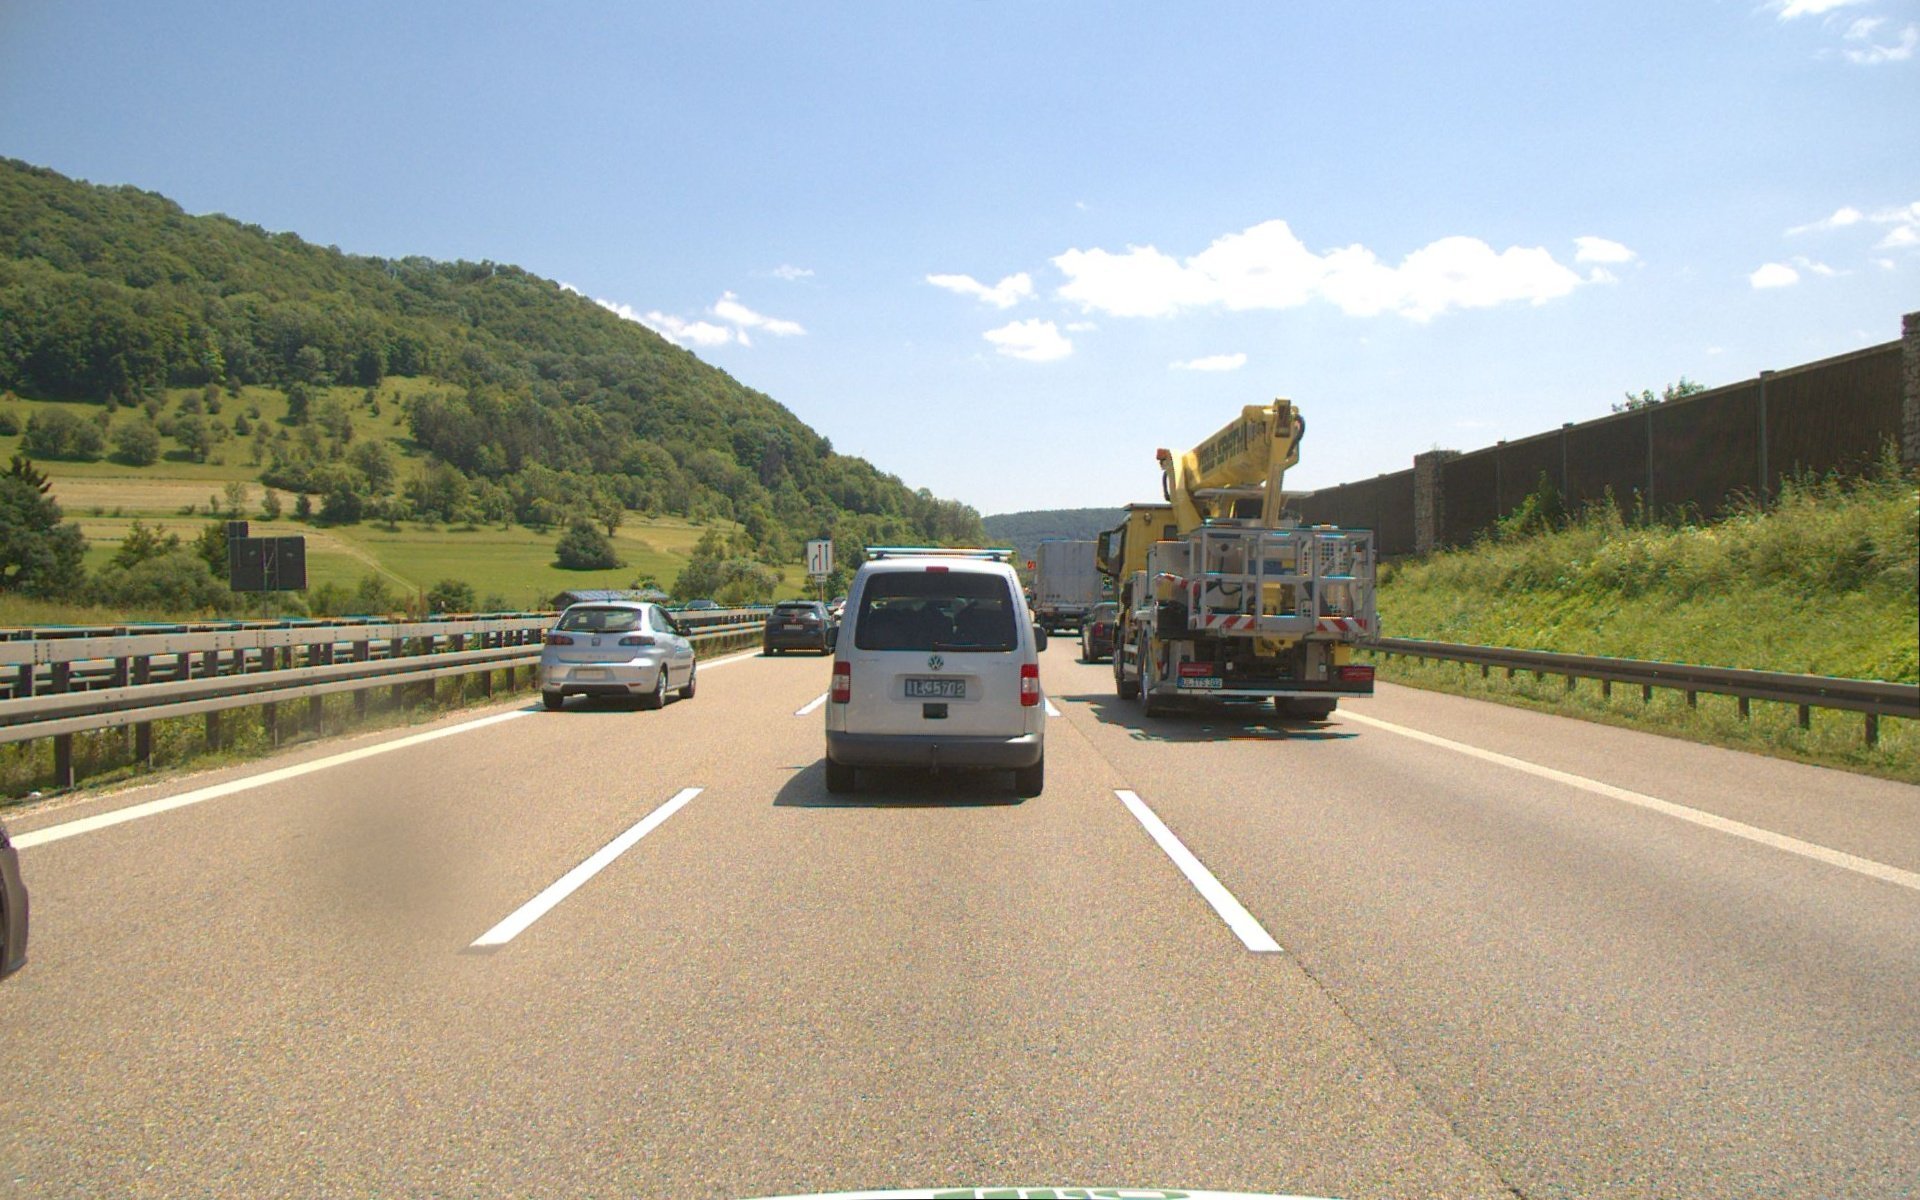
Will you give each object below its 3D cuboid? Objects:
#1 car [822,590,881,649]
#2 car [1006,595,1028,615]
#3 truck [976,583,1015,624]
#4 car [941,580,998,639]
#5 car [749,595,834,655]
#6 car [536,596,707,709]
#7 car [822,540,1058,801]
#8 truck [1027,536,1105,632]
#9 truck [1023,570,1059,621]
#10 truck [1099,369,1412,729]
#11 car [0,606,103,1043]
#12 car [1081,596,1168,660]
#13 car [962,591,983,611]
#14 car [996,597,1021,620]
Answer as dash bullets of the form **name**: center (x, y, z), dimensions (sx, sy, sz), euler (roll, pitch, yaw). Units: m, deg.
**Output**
- **car**: center (-3.955, 0.685, 60.773), dimensions (1.953, 2.049, 3.999), euler (-1, 0, -1)
- **car**: center (5.446, 0.510, 158.111), dimensions (1.952, 1.837, 4.000), euler (1, 0, 0)
- **truck**: center (2.300, 0.227, 108.442), dimensions (2.341, 2.585, 5.938), euler (0, 0, -1)
- **car**: center (0.301, 0.319, 58.068), dimensions (1.953, 2.010, 3.999), euler (0, 0, -1)
- **car**: center (-4.470, 0.636, 44.313), dimensions (1.885, 1.525, 3.999), euler (1, 0, -1)
- **car**: center (-4.706, 0.683, 23.475), dimensions (1.661, 1.470, 3.861), euler (0, 0, 0)
- **car**: center (-0.173, 0.512, 14.069), dimensions (1.720, 1.900, 3.999), euler (0, 0, -1)
- **truck**: center (4.534, -0.631, 72.120), dimensions (2.880, 3.890, 8.236), euler (1, 0, 0)
- **truck**: center (5.378, -0.264, 111.165), dimensions (1.953, 3.308, 6.798), euler (1, 0, -1)
- **truck**: center (3.659, -0.572, 22.781), dimensions (2.649, 4.011, 8.720), euler (0, 0, -1)
- **car**: center (-3.995, 0.734, 3.522), dimensions (1.764, 1.415, 4.969), euler (0, 0, 0)
- **car**: center (4.016, 0.657, 40.872), dimensions (1.750, 1.484, 3.770), euler (0, 0, -1)
- **car**: center (1.205, 0.104, 157.986), dimensions (1.952, 1.837, 4.000), euler (1, 0, 0)
- **car**: center (3.988, 0.710, 137.613), dimensions (1.952, 1.837, 4.000), euler (1, 0, 0)
